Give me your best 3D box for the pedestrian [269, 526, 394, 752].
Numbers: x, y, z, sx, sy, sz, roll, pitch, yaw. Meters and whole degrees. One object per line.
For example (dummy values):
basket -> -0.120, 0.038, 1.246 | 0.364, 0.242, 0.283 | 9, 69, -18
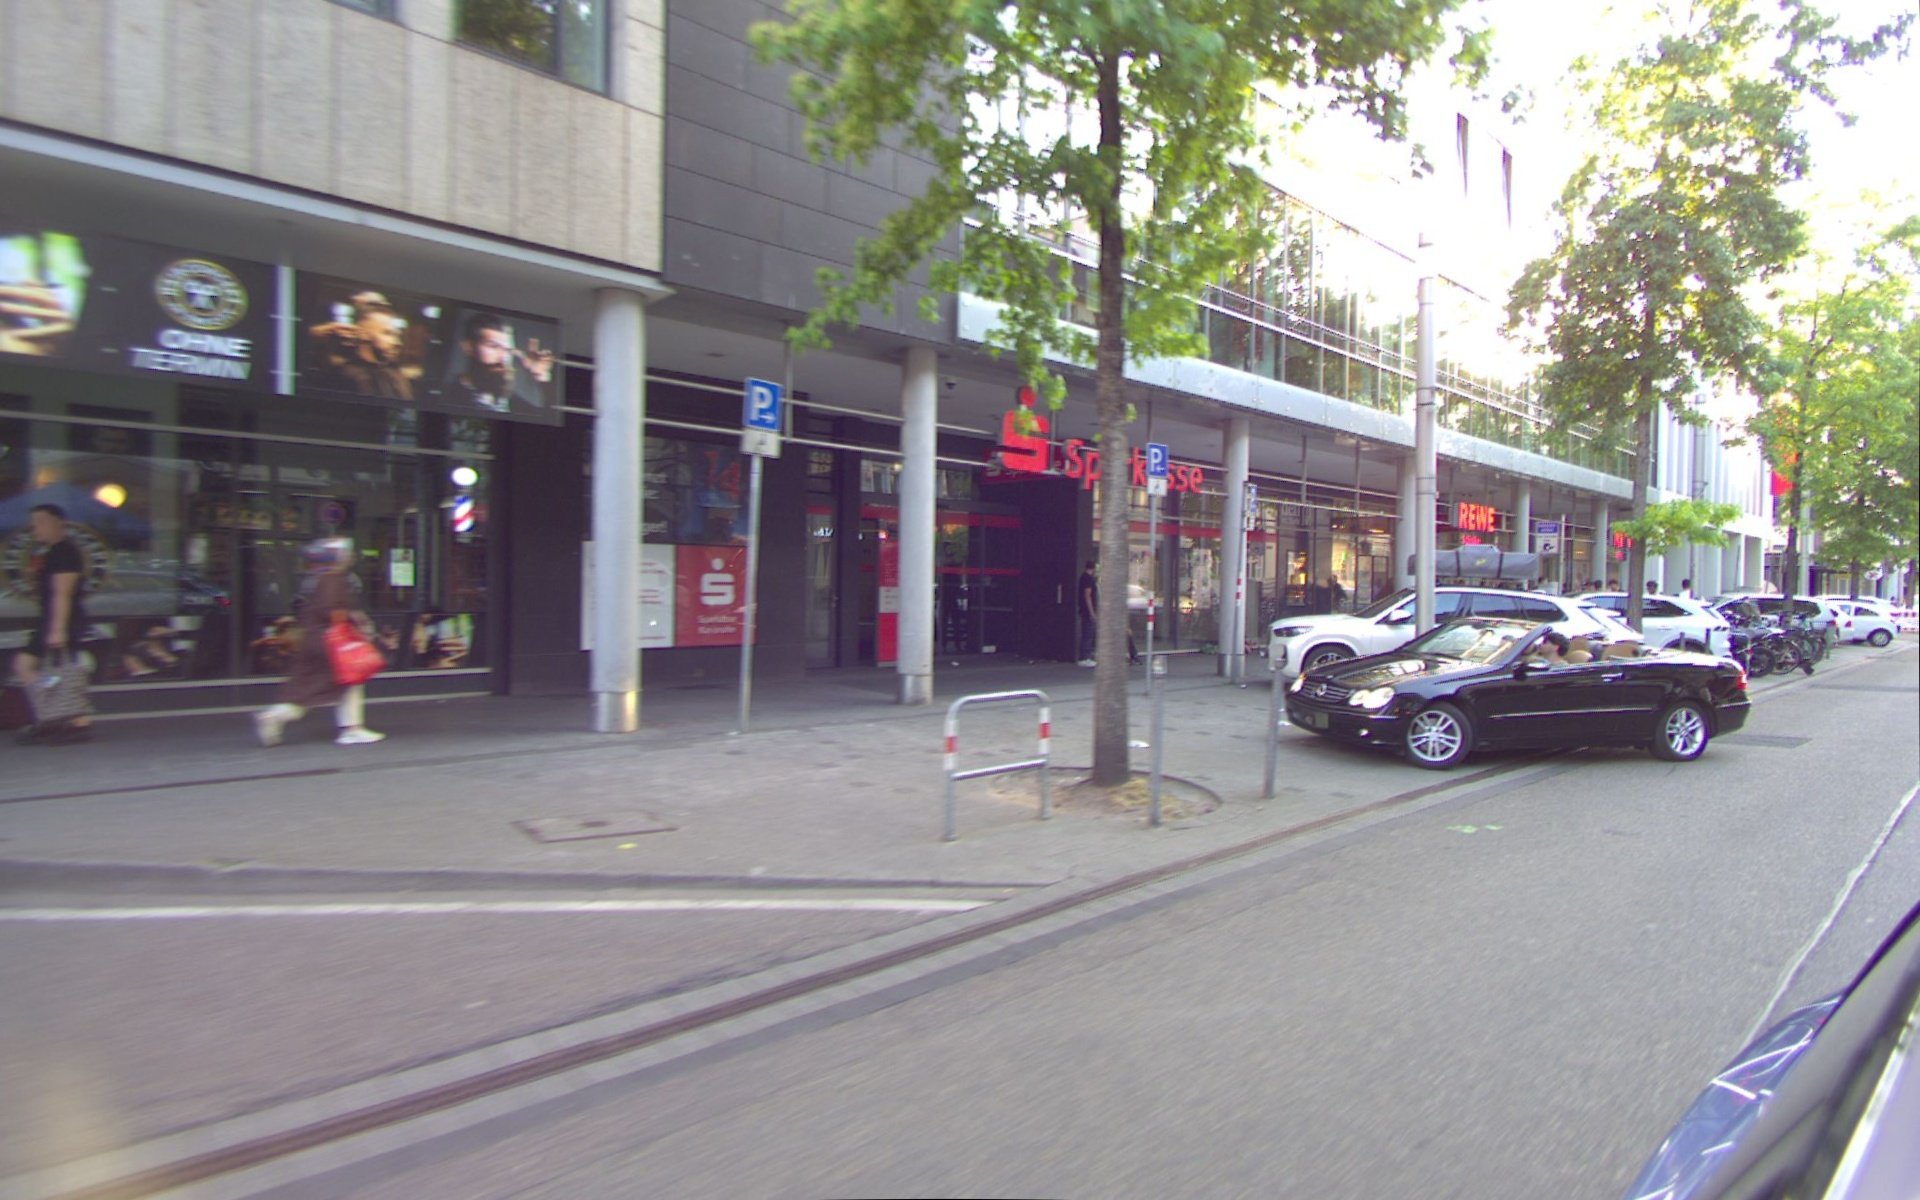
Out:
pedestrian -> -4.953, 0.272, 7.969 | 0.728, 1.664, 0.749 | 0, 2, -42

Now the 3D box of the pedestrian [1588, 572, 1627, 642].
pedestrian -> 16.085, 0.159, 25.142 | 0.617, 1.712, 0.617 | 0, 2, -41

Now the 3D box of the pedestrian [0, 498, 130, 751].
pedestrian -> -6.813, 0.162, 7.615 | 0.849, 1.794, 0.674 | 0, 2, -43

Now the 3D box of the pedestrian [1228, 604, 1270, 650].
pedestrian -> 5.874, 0.534, 20.584 | 0.548, 0.892, 0.627 | 0, 2, -42

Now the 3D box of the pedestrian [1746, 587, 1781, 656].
pedestrian -> 20.387, 0.529, 25.685 | 0.616, 1.712, 0.618 | 1, 1, 44

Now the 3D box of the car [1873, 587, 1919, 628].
car -> 44.000, 0.306, 45.750 | 3.919, 1.809, 1.867 | -1, -1, -7

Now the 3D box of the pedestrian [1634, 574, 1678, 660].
pedestrian -> 15.192, 0.354, 22.095 | 0.617, 1.822, 0.617 | 0, 2, -41

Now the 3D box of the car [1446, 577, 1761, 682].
car -> 11.942, 0.483, 19.160 | 4.570, 1.607, 1.910 | 3, 2, 14

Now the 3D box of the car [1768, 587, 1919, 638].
car -> 33.553, 0.479, 38.534 | 3.957, 1.809, 1.849 | -2, -1, 25

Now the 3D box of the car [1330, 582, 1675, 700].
car -> 8.428, 0.564, 16.263 | 4.583, 1.457, 1.905 | 3, 3, 22

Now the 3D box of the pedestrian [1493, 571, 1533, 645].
pedestrian -> 13.105, 0.182, 23.986 | 0.617, 1.712, 0.617 | 0, 2, -41

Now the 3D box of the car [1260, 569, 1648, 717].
car -> 6.653, 0.520, 14.259 | 4.575, 1.650, 1.908 | 3, 1, 17

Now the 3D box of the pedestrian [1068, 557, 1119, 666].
pedestrian -> 2.255, 0.171, 17.106 | 0.617, 1.794, 0.557 | 0, 2, -41

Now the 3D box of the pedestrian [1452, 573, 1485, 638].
pedestrian -> 13.547, 0.136, 26.978 | 0.617, 1.712, 0.557 | 0, 2, -41

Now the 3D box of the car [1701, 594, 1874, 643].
car -> 27.220, 0.618, 33.446 | 3.948, 1.530, 1.789 | -2, -1, 19

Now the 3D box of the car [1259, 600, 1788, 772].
car -> 5.456, 0.733, 9.979 | 4.470, 1.426, 1.803 | 0, 0, -13

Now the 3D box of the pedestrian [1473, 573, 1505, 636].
pedestrian -> 14.692, 0.117, 28.113 | 0.617, 1.712, 0.557 | 0, 2, -41

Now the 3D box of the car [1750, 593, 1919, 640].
car -> 30.304, 0.585, 35.211 | 3.948, 1.530, 1.853 | -2, -1, 19

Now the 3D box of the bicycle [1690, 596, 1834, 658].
bicycle -> 19.693, 0.675, 24.931 | 2.643, 1.475, 0.671 | -1, -1, 23

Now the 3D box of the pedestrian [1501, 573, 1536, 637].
pedestrian -> 15.192, 0.125, 27.528 | 0.617, 1.712, 0.617 | 0, 2, -41

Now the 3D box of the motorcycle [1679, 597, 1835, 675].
motorcycle -> 15.613, 0.682, 19.883 | 2.071, 1.370, 1.157 | 2, 2, 0

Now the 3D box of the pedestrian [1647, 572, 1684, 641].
pedestrian -> 17.828, 0.148, 25.574 | 0.617, 1.712, 0.617 | 0, 2, -41

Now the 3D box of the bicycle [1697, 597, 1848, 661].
bicycle -> 19.135, 0.691, 23.915 | 2.642, 1.475, 0.724 | -1, -1, 22

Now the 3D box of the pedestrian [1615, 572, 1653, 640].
pedestrian -> 17.214, 0.146, 25.852 | 0.617, 1.712, 0.617 | 0, 2, -41

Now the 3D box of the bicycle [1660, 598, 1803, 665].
bicycle -> 17.527, 0.710, 23.072 | 2.461, 1.475, 0.652 | -1, -1, 24

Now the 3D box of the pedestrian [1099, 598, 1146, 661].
pedestrian -> 2.880, 0.510, 17.948 | 0.625, 1.048, 0.550 | 2, 2, 40

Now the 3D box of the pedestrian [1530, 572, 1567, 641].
pedestrian -> 14.999, 0.152, 25.805 | 0.617, 1.712, 0.617 | 0, 2, -41

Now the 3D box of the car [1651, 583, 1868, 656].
car -> 22.496, 0.559, 28.673 | 4.397, 1.904, 1.793 | -1, -1, 12

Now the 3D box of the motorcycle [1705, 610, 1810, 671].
motorcycle -> 16.546, 0.827, 21.041 | 1.554, 1.113, 0.624 | 3, 2, 24
